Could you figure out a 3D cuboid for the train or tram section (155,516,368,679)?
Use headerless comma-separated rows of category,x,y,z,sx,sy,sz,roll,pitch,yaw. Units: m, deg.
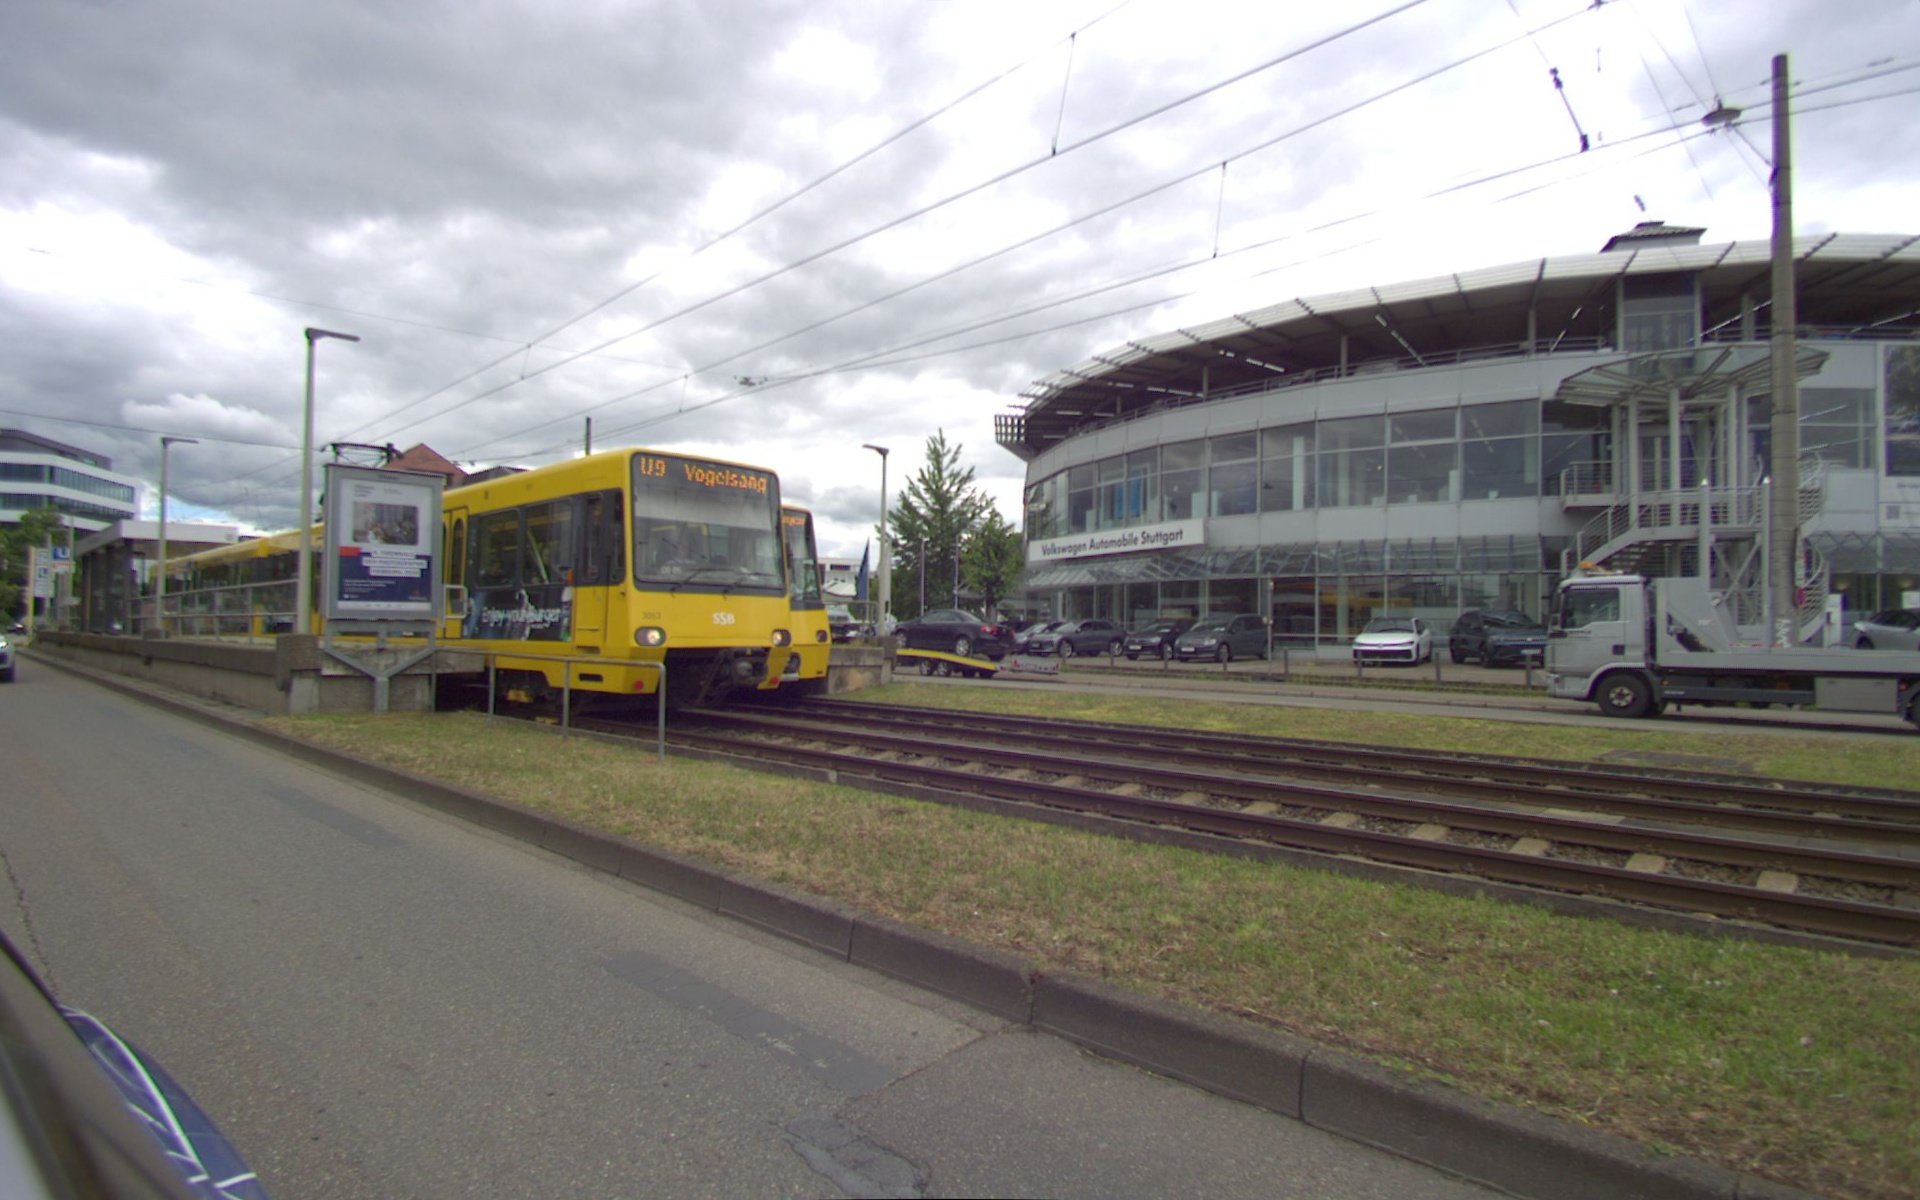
train or tram section,-20.878,0.142,29.798,11.913,3.997,2.710,-2,-3,44

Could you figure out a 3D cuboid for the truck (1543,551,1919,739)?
truck,14.235,0.735,16.408,8.024,2.760,2.259,-1,-4,43

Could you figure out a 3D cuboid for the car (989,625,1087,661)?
car,3.437,1.865,44.488,3.930,1.497,1.802,1,-2,-26

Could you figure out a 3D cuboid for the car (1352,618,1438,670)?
car,13.616,1.330,31.533,1.791,1.497,3.954,-1,-2,34

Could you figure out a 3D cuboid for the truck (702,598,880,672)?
truck,-6.145,1.216,36.222,6.451,2.415,2.799,-1,-2,41

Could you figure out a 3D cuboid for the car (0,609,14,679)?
car,-23.435,1.062,23.567,4.115,1.581,1.889,-2,-1,45

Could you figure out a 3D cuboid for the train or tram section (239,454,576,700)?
train or tram section,-12.253,-0.177,21.516,11.913,3.997,2.710,-2,-3,44

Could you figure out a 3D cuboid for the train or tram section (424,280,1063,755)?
train or tram section,-3.595,-0.539,13.272,10.197,4.096,2.939,-2,-3,44

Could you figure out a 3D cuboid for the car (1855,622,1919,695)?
car,25.625,1.597,26.199,1.983,1.785,3.979,5,1,16

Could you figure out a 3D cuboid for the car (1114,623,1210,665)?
car,7.608,1.611,37.910,1.795,1.497,3.945,-1,-2,41

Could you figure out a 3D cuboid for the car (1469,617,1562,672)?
car,16.164,1.264,29.642,1.782,1.497,3.973,0,-1,20

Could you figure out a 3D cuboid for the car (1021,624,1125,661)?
car,4.680,1.739,41.916,3.930,1.497,1.802,1,-2,-26

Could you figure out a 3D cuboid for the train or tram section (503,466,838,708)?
train or tram section,-6.094,-0.140,19.893,9.181,3.824,1.971,-1,-2,44

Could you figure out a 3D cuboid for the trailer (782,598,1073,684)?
trailer,-1.352,1.211,31.931,10.020,2.338,2.824,-1,-2,42

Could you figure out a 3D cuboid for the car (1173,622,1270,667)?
car,9.238,1.521,35.582,1.795,1.497,3.946,-1,-2,40

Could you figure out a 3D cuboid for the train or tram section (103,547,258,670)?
train or tram section,-29.533,0.473,38.044,11.913,3.997,2.710,-2,-3,44
